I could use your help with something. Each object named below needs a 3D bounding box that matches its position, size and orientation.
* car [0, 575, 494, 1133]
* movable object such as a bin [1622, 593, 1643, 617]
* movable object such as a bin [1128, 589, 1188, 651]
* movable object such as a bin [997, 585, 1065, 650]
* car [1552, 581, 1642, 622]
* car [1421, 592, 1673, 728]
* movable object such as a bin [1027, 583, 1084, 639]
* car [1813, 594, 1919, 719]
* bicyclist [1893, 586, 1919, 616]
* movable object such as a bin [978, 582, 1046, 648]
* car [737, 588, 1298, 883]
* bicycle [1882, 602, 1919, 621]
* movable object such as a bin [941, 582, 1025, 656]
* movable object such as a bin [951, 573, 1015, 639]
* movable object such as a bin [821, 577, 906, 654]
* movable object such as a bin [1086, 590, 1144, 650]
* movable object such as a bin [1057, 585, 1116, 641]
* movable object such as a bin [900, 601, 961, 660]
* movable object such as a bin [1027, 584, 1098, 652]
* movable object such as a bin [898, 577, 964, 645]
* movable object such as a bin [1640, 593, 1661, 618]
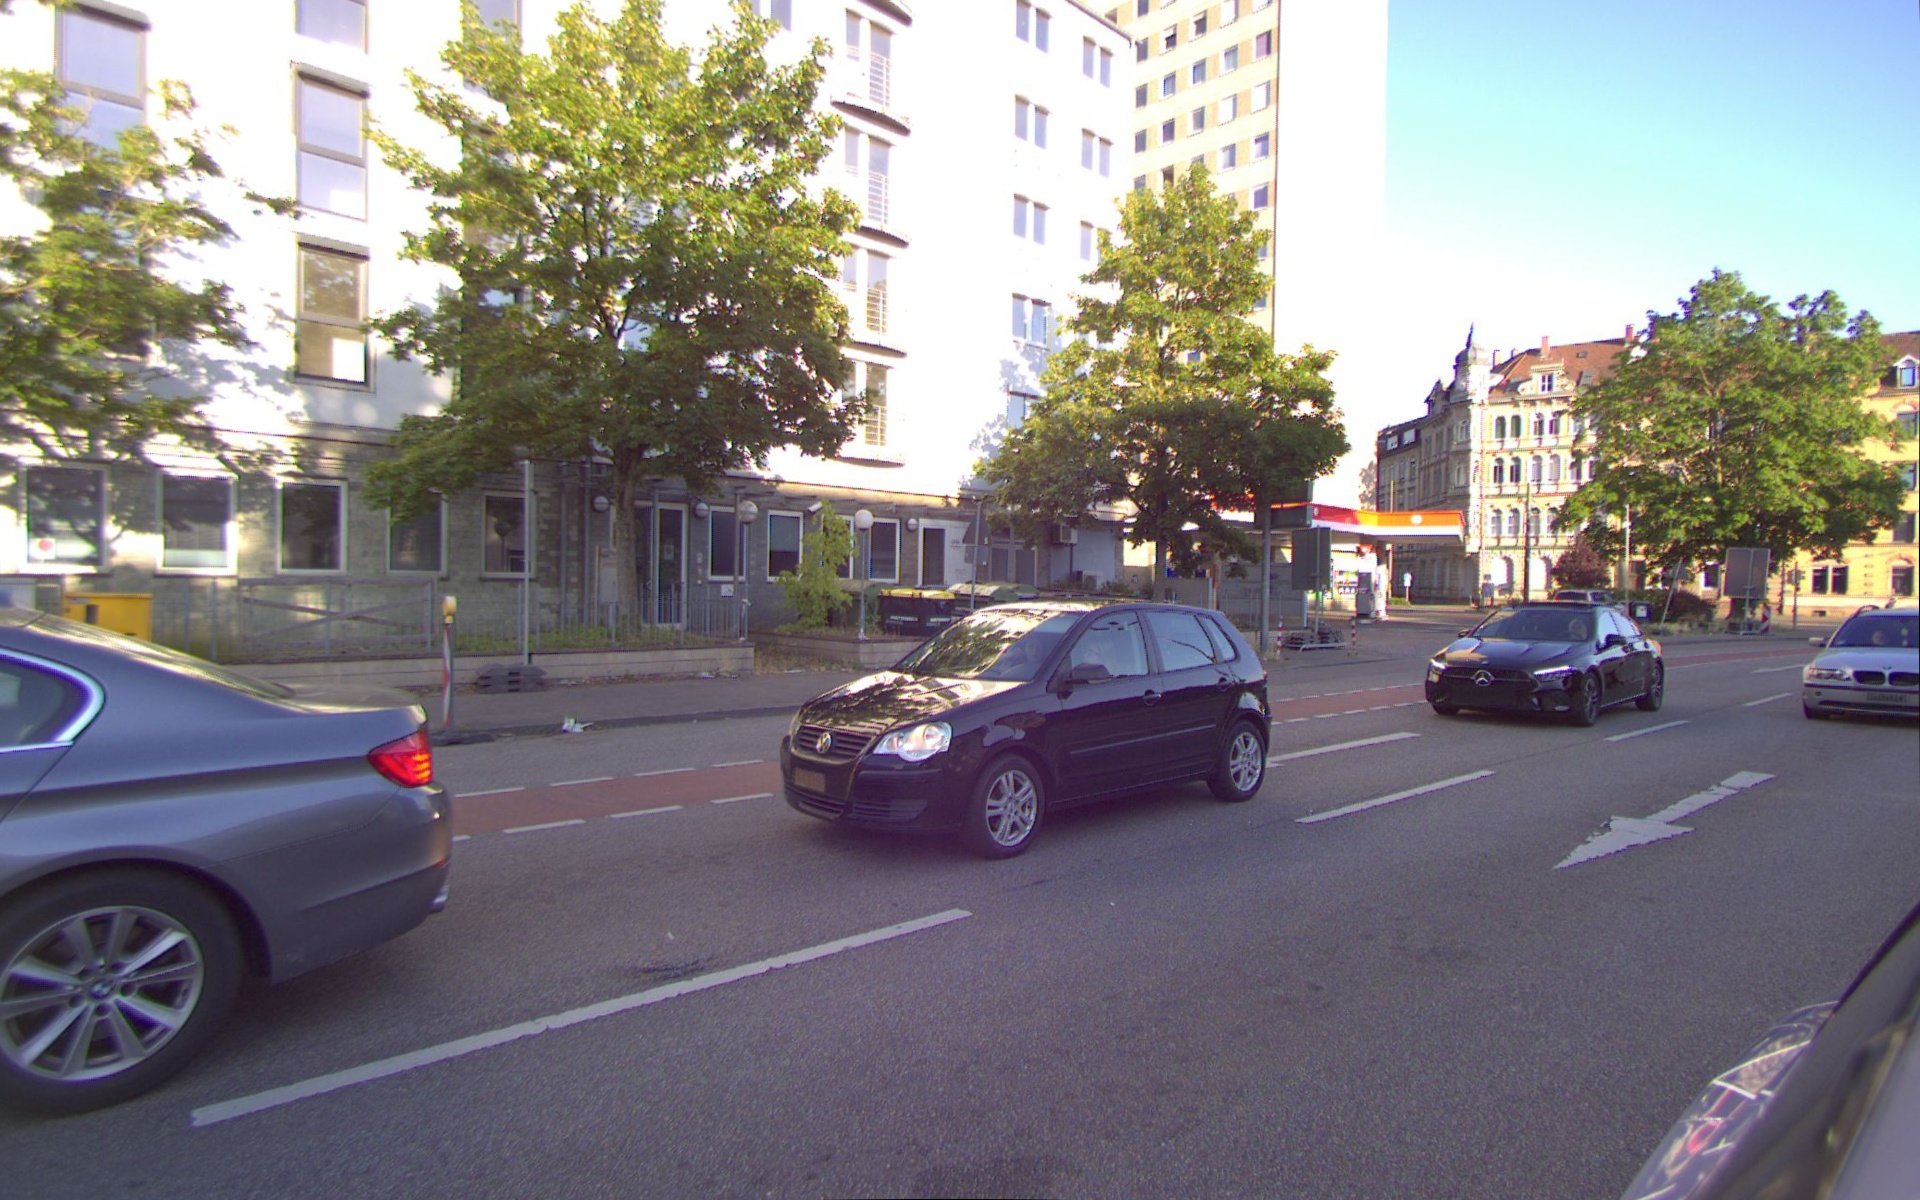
[{"bbox_3d":[-3.901,0.664,2.607,4.588,1.467,1.817,0,0,-43],"label":"car"},{"bbox_3d":[29.101,0.214,43.787,0.675,1.031,0.544,0,1,-36],"label":"movable object such as a bin"},{"bbox_3d":[4.535,0.441,23.180,0.938,1.345,0.954,0,1,-43],"label":"movable object such as a bin"},{"bbox_3d":[1.555,0.363,22.067,1.143,1.345,0.954,0,1,-44],"label":"movable object such as a bin"},{"bbox_3d":[25.763,0.032,40.909,3.723,1.535,1.691,-1,2,-34],"label":"car"},{"bbox_3d":[7.643,0.641,13.015,3.977,1.467,1.729,0,0,-43],"label":"car"},{"bbox_3d":[2.396,0.261,25.351,1.080,1.345,0.954,0,1,-44],"label":"movable object such as a bin"},{"bbox_3d":[12.595,0.646,13.180,4.363,1.436,1.673,0,0,-42],"label":"car"},{"bbox_3d":[53.784,0.055,57.521,1.062,1.669,0.721,2,1,43],"label":"bicyclist"},{"bbox_3d":[1.196,0.320,23.197,1.143,1.467,1.033,0,1,-44],"label":"movable object such as a bin"},{"bbox_3d":[0.572,0.660,6.894,3.804,1.467,1.583,0,0,-41],"label":"car"},{"bbox_3d":[53.704,0.652,57.492,1.920,1.072,0.444,2,1,43],"label":"bicycle"},{"bbox_3d":[0.470,0.361,20.858,1.348,1.441,1.088,2,2,45],"label":"movable object such as a bin"},{"bbox_3d":[0.549,0.130,24.189,1.143,1.517,1.033,0,1,-44],"label":"movable object such as a bin"},{"bbox_3d":[-1.950,0.286,20.407,1.348,1.479,1.088,2,1,45],"label":"movable object such as a bin"},{"bbox_3d":[3.629,0.448,23.657,0.938,1.345,0.954,0,1,-43],"label":"movable object such as a bin"},{"bbox_3d":[3.076,0.291,24.622,1.080,1.299,0.954,0,1,-44],"label":"movable object such as a bin"},{"bbox_3d":[-0.562,0.574,19.476,0.851,1.058,0.807,2,1,45],"label":"movable object such as a bin"},{"bbox_3d":[2.132,0.348,21.085,1.143,1.345,0.954,0,1,-44],"label":"movable object such as a bin"},{"bbox_3d":[-0.669,0.236,23.628,1.143,1.517,1.033,0,1,-44],"label":"movable object such as a bin"},{"bbox_3d":[29.415,0.221,43.102,0.675,1.031,0.544,0,1,-36],"label":"movable object such as a bin"}]
